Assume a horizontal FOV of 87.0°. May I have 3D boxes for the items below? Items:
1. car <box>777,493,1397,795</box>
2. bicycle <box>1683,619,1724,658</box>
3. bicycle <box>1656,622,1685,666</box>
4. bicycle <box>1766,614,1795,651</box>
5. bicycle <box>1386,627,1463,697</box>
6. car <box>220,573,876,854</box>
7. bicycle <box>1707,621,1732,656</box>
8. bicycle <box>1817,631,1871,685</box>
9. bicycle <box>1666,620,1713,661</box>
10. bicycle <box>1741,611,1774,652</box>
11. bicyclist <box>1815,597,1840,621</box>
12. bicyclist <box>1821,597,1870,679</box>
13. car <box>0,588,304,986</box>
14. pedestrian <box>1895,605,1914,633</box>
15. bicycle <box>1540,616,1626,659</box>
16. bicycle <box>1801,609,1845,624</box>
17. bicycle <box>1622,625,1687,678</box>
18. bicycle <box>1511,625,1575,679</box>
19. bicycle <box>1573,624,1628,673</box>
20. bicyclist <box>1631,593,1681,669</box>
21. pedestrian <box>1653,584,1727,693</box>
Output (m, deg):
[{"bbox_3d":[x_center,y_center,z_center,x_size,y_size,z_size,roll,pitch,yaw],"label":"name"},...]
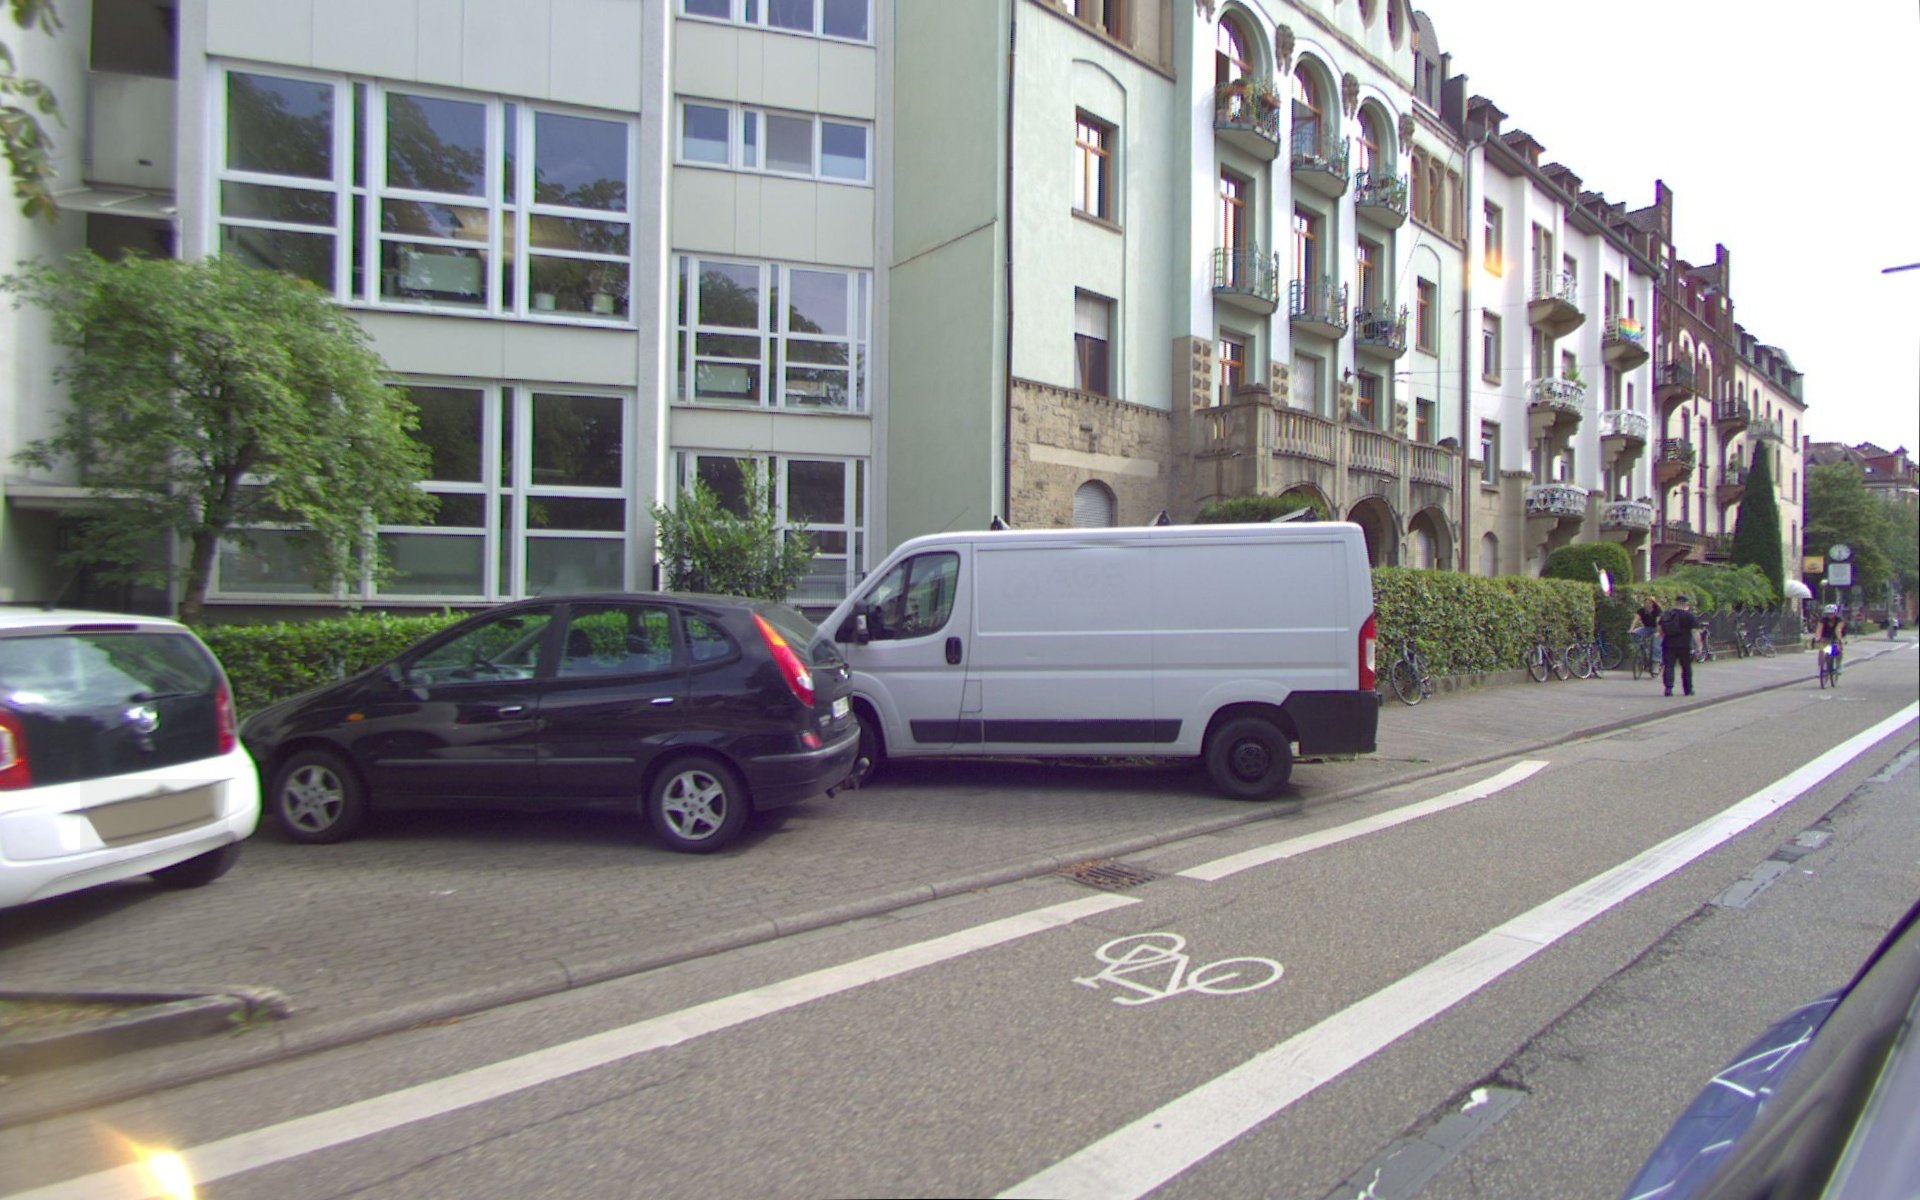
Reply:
[{"bbox_3d":[1.035,0.344,9.224,4.873,2.319,2.380,0,0,6],"label":"car"},{"bbox_3d":[18.920,0.975,25.731,1.636,0.918,0.486,0,1,-41],"label":"bicycle"},{"bbox_3d":[16.296,0.990,23.208,0.484,0.918,1.643,1,1,37],"label":"bicycle"},{"bbox_3d":[25.424,0.999,31.341,1.728,1.116,0.392,1,1,-42],"label":"bicycle"},{"bbox_3d":[6.908,0.892,15.005,1.811,0.918,0.386,0,1,-43],"label":"bicycle"},{"bbox_3d":[-2.630,0.682,7.015,3.889,1.670,1.687,0,0,4],"label":"car"},{"bbox_3d":[20.226,1.016,26.942,1.177,0.863,0.278,0,1,-41],"label":"bicycle"},{"bbox_3d":[17.813,1.141,20.371,2.037,0.993,0.639,1,0,-44],"label":"bicycle"},{"bbox_3d":[17.673,0.958,24.490,1.635,0.918,0.487,0,1,-39],"label":"bicycle"},{"bbox_3d":[23.367,0.920,29.645,1.887,1.156,0.392,1,1,-42],"label":"bicycle"},{"bbox_3d":[65.311,0.679,76.216,0.824,1.711,1.245,1,-1,5],"label":"bicyclist"},{"bbox_3d":[17.832,0.749,20.382,1.092,1.590,0.639,1,0,-44],"label":"bicyclist"},{"bbox_3d":[-5.654,0.728,4.857,4.019,1.530,1.687,0,0,4],"label":"car"},{"bbox_3d":[59.002,1.183,63.223,0.747,1.680,0.720,1,3,-45],"label":"pedestrian"},{"bbox_3d":[14.506,0.855,23.613,0.478,0.918,1.666,0,1,-32],"label":"bicycle"},{"bbox_3d":[65.301,1.226,76.579,0.870,1.058,3.093,1,0,4],"label":"bicycle"},{"bbox_3d":[14.231,1.028,20.723,2.002,0.974,0.689,1,2,-44],"label":"bicycle"},{"bbox_3d":[10.694,0.935,18.542,1.634,0.918,0.387,0,1,-37],"label":"bicycle"},{"bbox_3d":[12.941,0.957,20.434,1.634,0.918,0.387,0,1,-37],"label":"bicycle"},{"bbox_3d":[14.252,0.626,20.719,0.787,1.488,0.648,1,1,-44],"label":"bicyclist"},{"bbox_3d":[12.430,0.633,17.233,0.880,1.754,0.786,1,2,-42],"label":"pedestrian"}]
